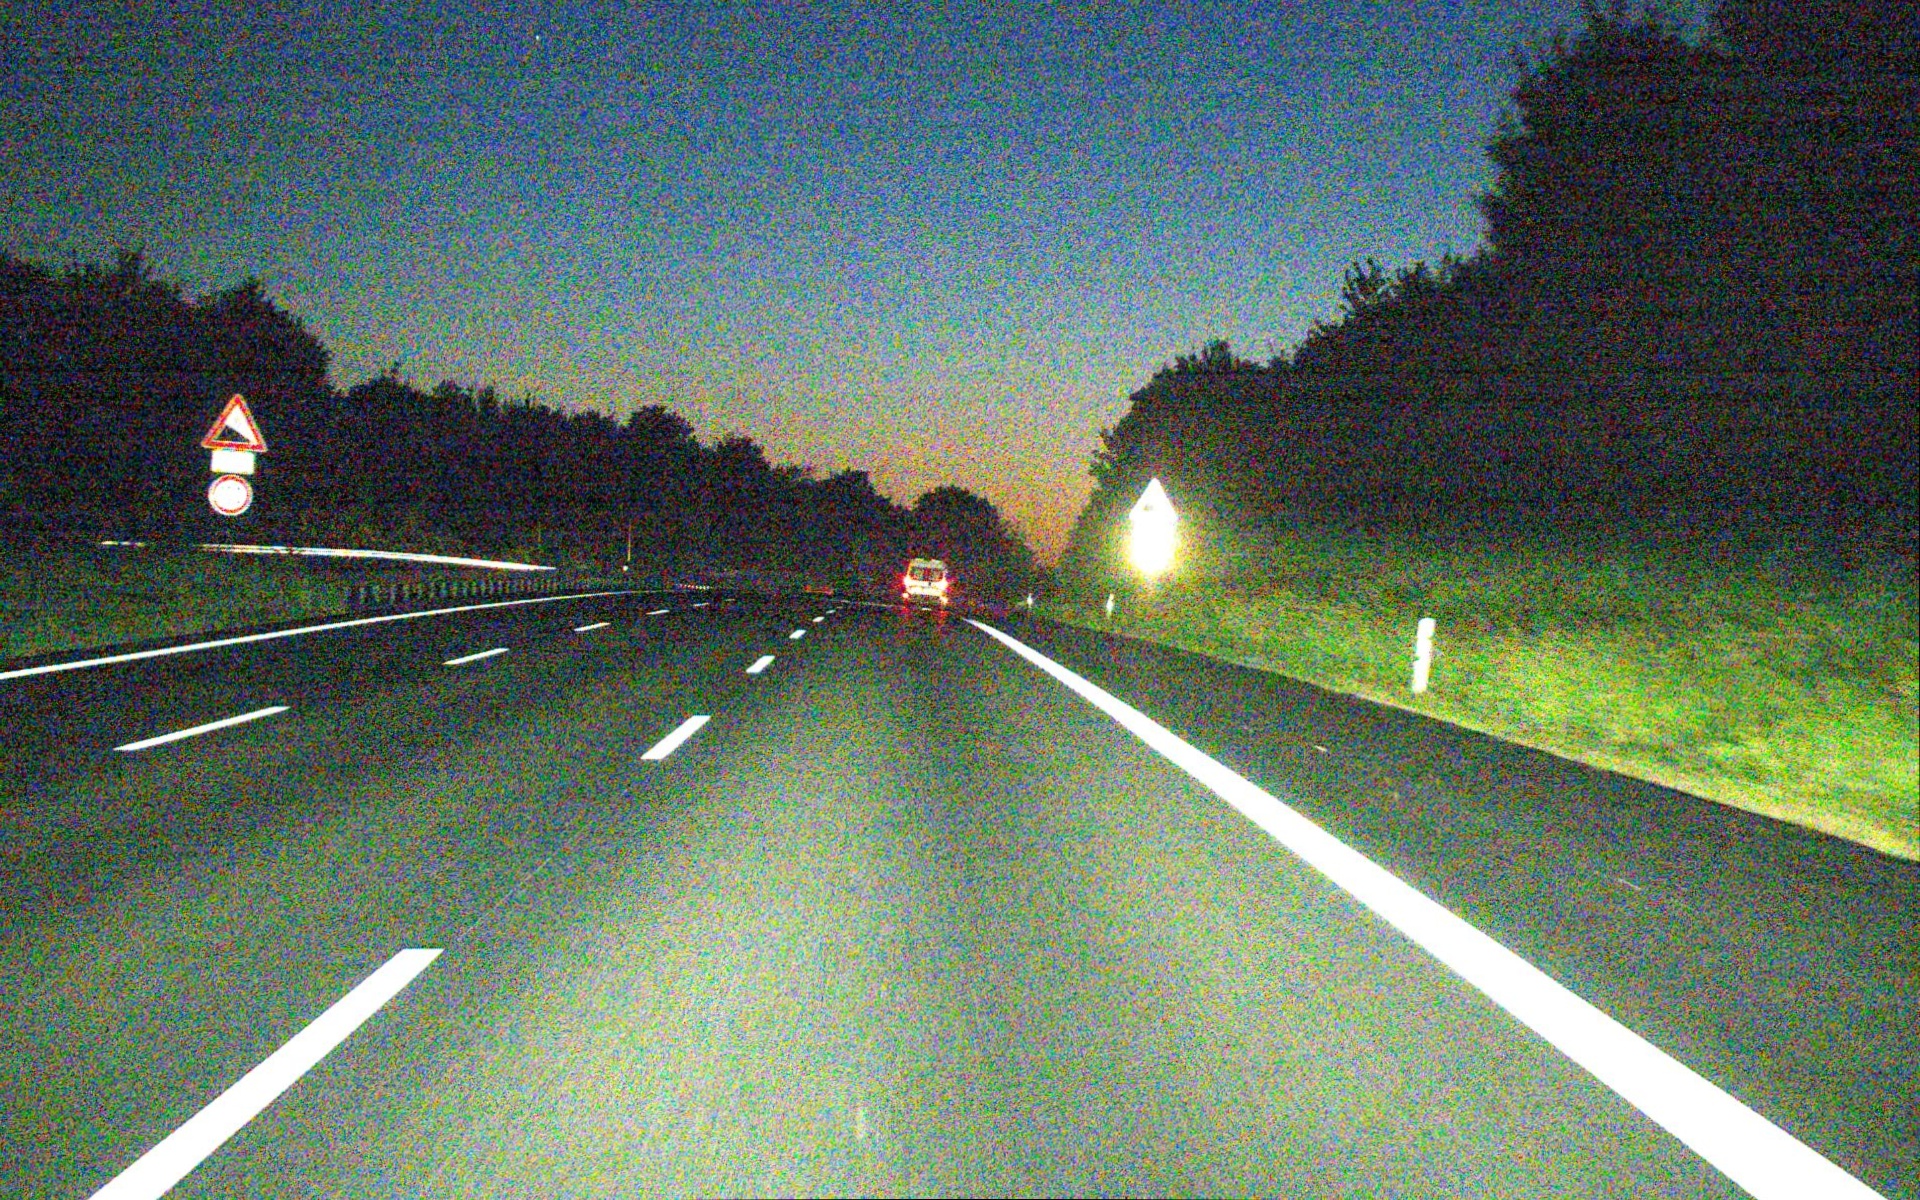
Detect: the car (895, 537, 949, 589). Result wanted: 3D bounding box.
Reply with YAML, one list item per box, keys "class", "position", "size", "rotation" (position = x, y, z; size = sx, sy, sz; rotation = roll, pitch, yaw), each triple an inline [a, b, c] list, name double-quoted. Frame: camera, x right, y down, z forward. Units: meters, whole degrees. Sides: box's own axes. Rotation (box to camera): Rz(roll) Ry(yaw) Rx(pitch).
- class: "car"
  position: [-1.925, -1.917, 176.966]
  size: [2.528, 2.544, 6.051]
  rotation: [2, 1, 1]
